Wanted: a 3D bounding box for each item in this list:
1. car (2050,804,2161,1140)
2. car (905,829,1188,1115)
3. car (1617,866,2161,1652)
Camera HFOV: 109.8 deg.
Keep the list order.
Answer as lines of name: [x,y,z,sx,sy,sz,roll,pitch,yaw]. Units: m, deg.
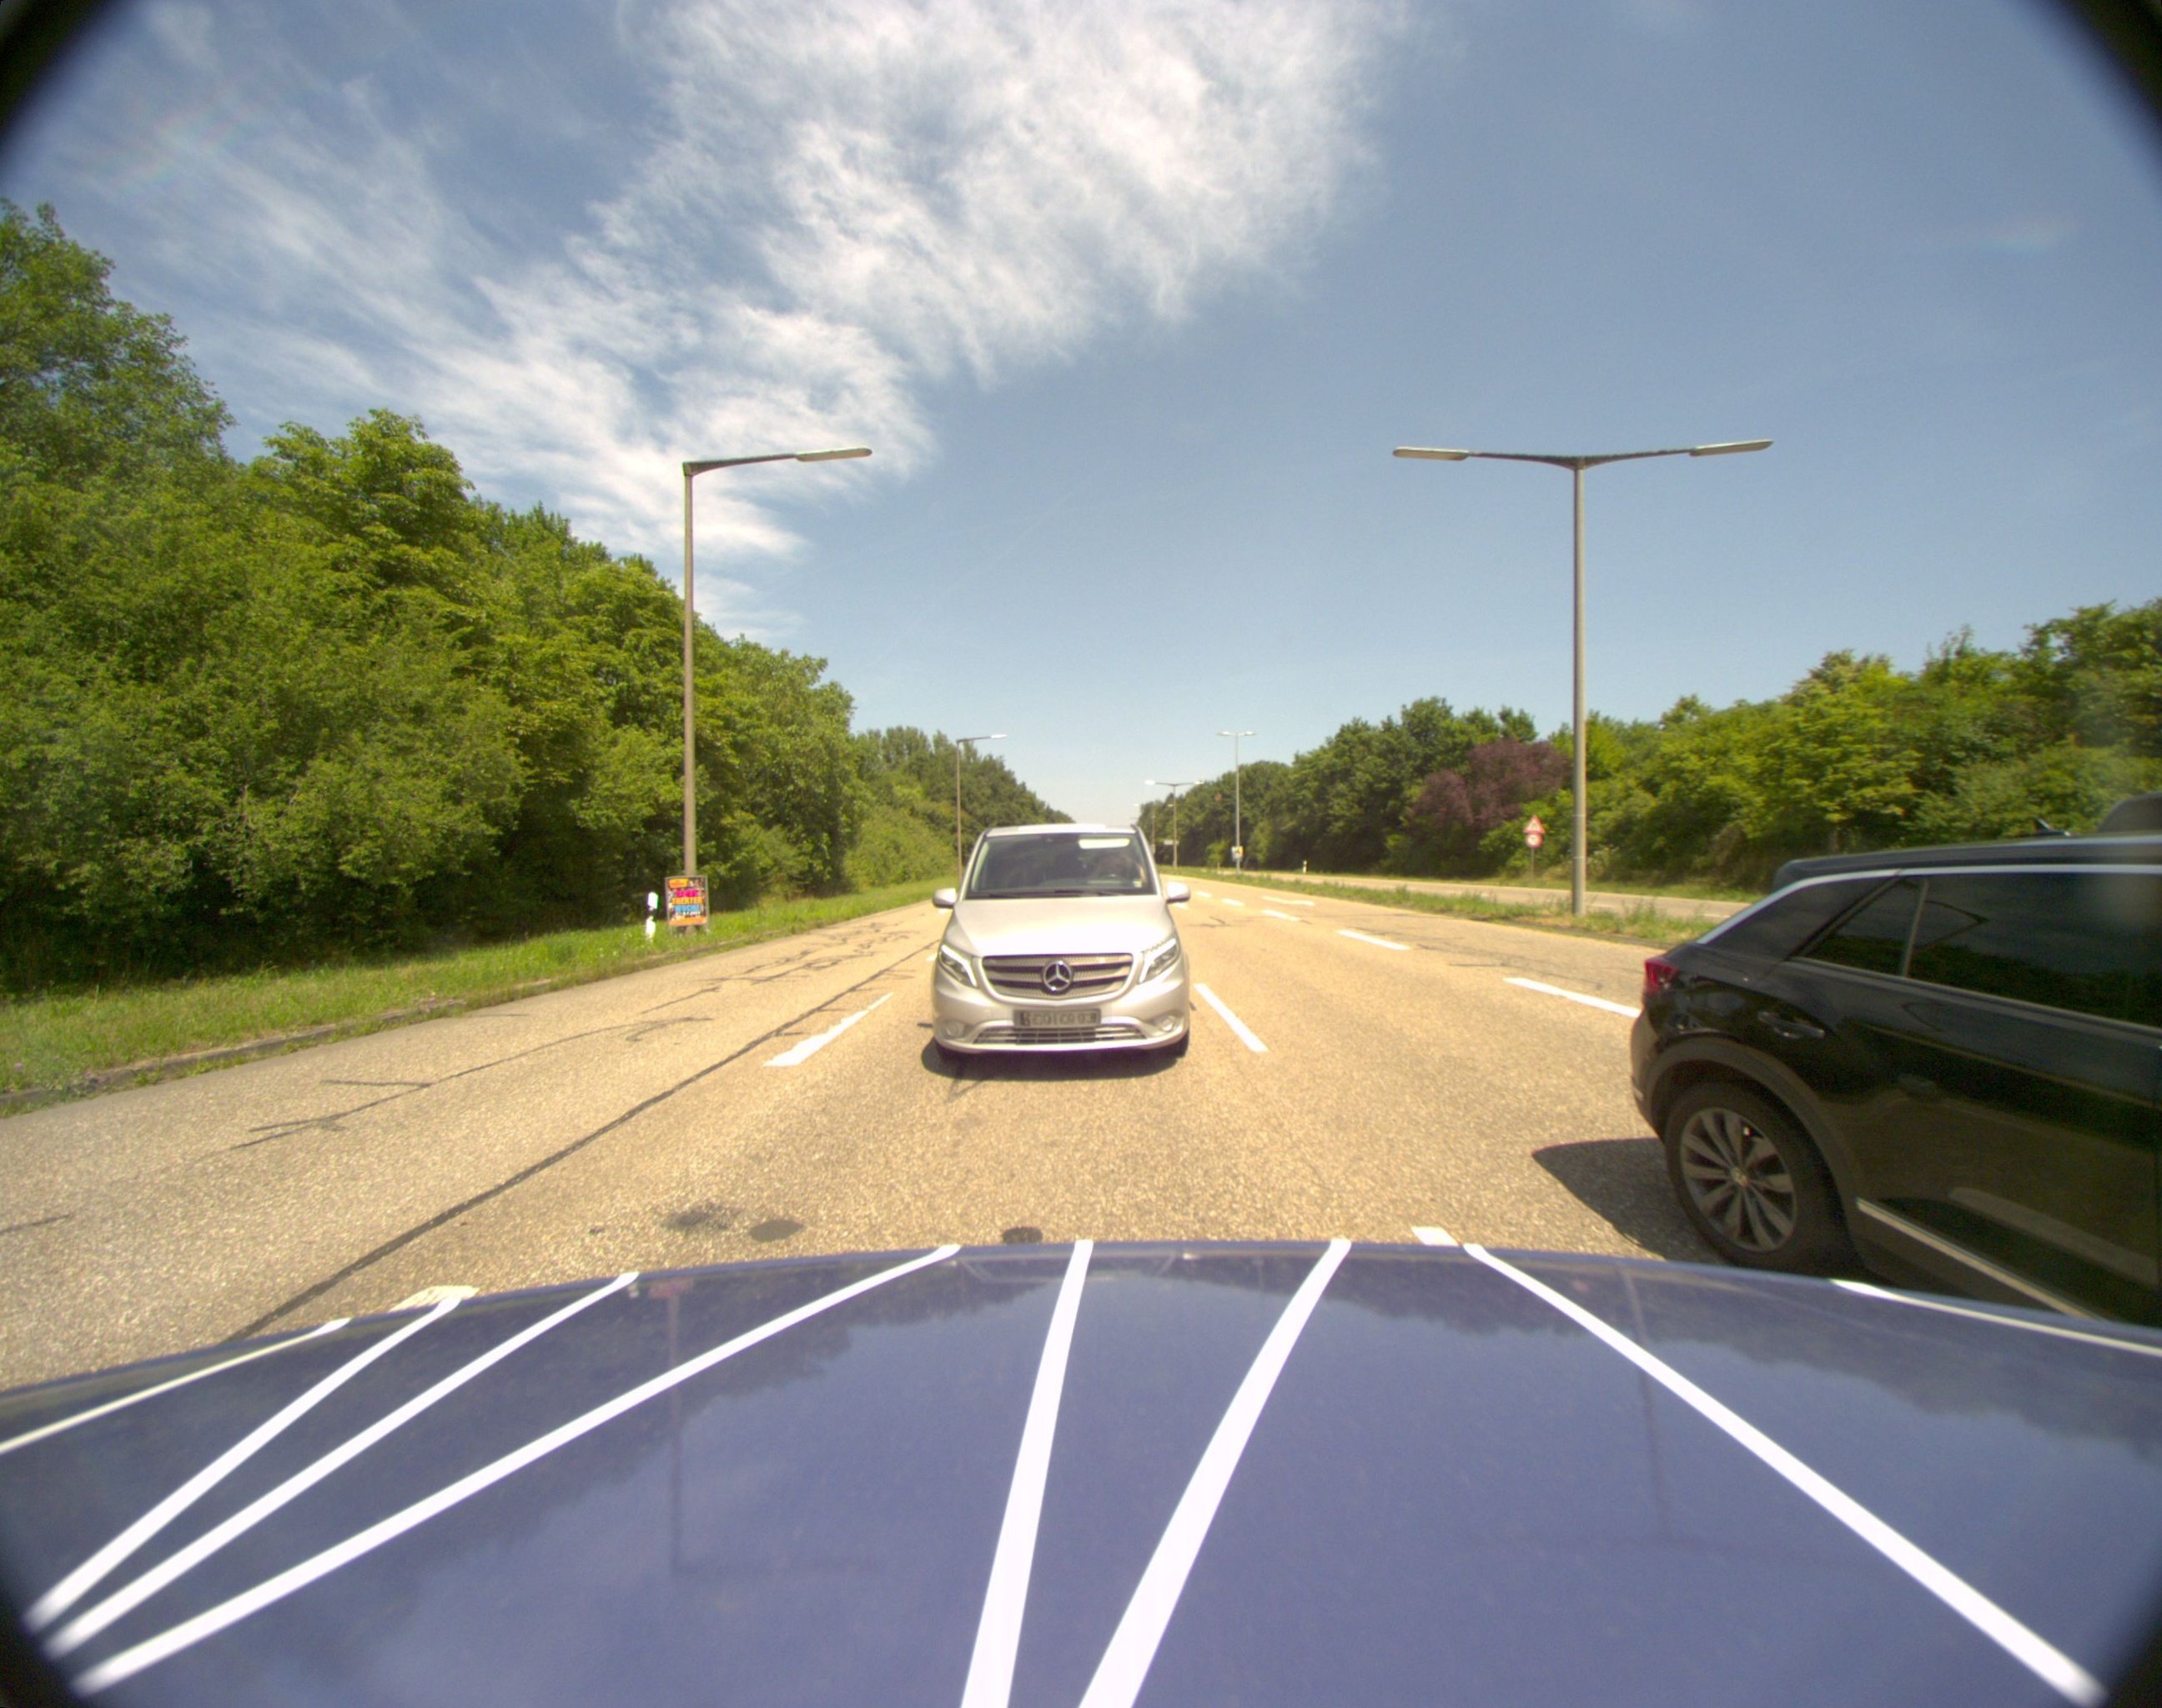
car: [6.726,0.624,2.421,1.736,1.815,4.321,-1,0,-1]
car: [-0.191,0.763,7.342,1.764,1.794,4.855,-2,0,1]
car: [3.045,0.854,1.105,1.739,1.503,3.970,-2,1,1]
